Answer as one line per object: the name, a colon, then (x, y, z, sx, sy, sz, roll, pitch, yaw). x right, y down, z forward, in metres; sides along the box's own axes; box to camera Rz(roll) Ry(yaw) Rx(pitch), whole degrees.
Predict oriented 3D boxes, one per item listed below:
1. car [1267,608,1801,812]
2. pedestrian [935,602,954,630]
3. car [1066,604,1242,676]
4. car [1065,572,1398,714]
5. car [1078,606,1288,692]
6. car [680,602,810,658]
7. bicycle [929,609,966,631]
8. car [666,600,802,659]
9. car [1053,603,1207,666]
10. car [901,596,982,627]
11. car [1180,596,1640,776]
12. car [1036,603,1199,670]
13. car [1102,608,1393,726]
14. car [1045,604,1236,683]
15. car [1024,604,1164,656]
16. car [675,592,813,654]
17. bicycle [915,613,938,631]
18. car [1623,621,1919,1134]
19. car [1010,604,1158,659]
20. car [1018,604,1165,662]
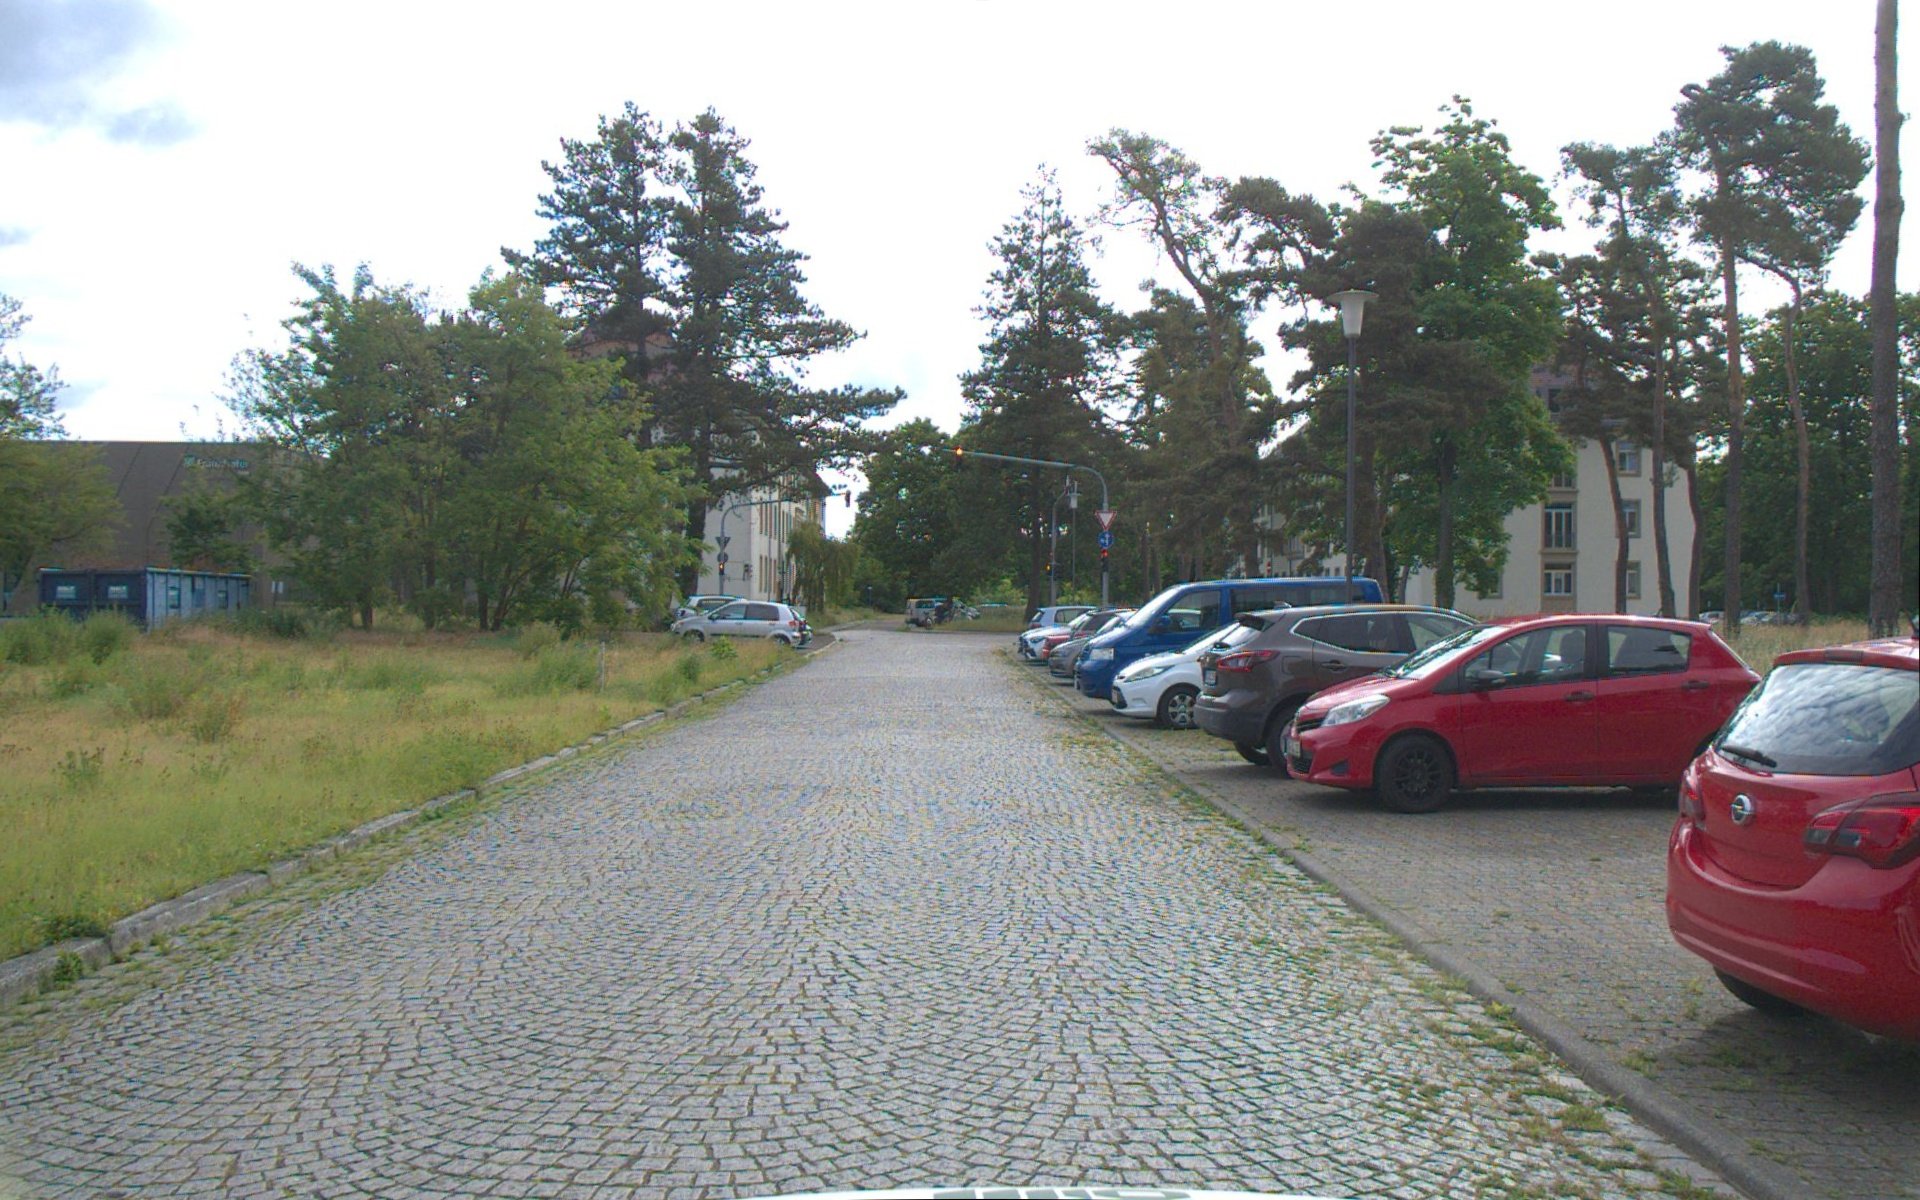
car: (4.530, 0.841, 13.448, 3.715, 1.486, 1.750, -1, -1, -1)
pedestrian: (-0.925, 0.969, 98.002, 1.013, 1.642, 0.756, 1, -1, -6)
car: (4.196, 0.853, 36.107, 3.599, 1.475, 1.523, -1, -1, -3)
car: (4.028, 0.630, 25.057, 4.660, 1.989, 1.930, -1, -1, -3)
car: (4.048, 0.880, 30.335, 3.599, 1.475, 1.523, -1, -1, -3)
car: (-6.461, 0.884, 49.936, 3.744, 1.600, 1.564, -1, -1, -2)
bicycle: (-0.724, 1.180, 97.663, 2.095, 1.236, 0.621, 1, -1, -6)
car: (-6.450, 0.836, 47.519, 3.747, 1.600, 1.563, -1, -1, -5)
car: (4.196, 0.854, 41.098, 3.599, 1.475, 1.523, -1, -1, -3)
car: (-1.330, 0.820, 115.561, 5.347, 2.049, 2.263, 1, 0, -11)
car: (4.276, 0.788, 16.092, 3.949, 1.580, 1.750, -1, -1, -4)
car: (3.668, 0.837, 38.800, 3.599, 1.475, 1.523, -1, -1, -3)
car: (3.842, 0.876, 22.458, 3.599, 1.475, 1.613, -1, -1, -4)
car: (3.573, 0.854, 33.102, 3.599, 1.475, 1.523, -1, -1, -3)
car: (3.945, 0.867, 48.850, 3.891, 1.446, 1.618, -1, -1, -6)
car: (-6.867, 0.728, 52.914, 4.176, 1.873, 1.743, -1, -1, -2)
bicycle: (-1.917, 1.238, 93.563, 0.613, 0.961, 1.647, 1, 0, -29)
car: (4.588, 0.813, 5.859, 3.749, 1.486, 1.778, -1, -1, -2)
car: (3.443, 0.872, 46.187, 3.891, 1.446, 1.618, -1, -1, -6)
car: (3.420, 0.856, 43.331, 3.601, 1.446, 1.522, -1, -1, -6)
